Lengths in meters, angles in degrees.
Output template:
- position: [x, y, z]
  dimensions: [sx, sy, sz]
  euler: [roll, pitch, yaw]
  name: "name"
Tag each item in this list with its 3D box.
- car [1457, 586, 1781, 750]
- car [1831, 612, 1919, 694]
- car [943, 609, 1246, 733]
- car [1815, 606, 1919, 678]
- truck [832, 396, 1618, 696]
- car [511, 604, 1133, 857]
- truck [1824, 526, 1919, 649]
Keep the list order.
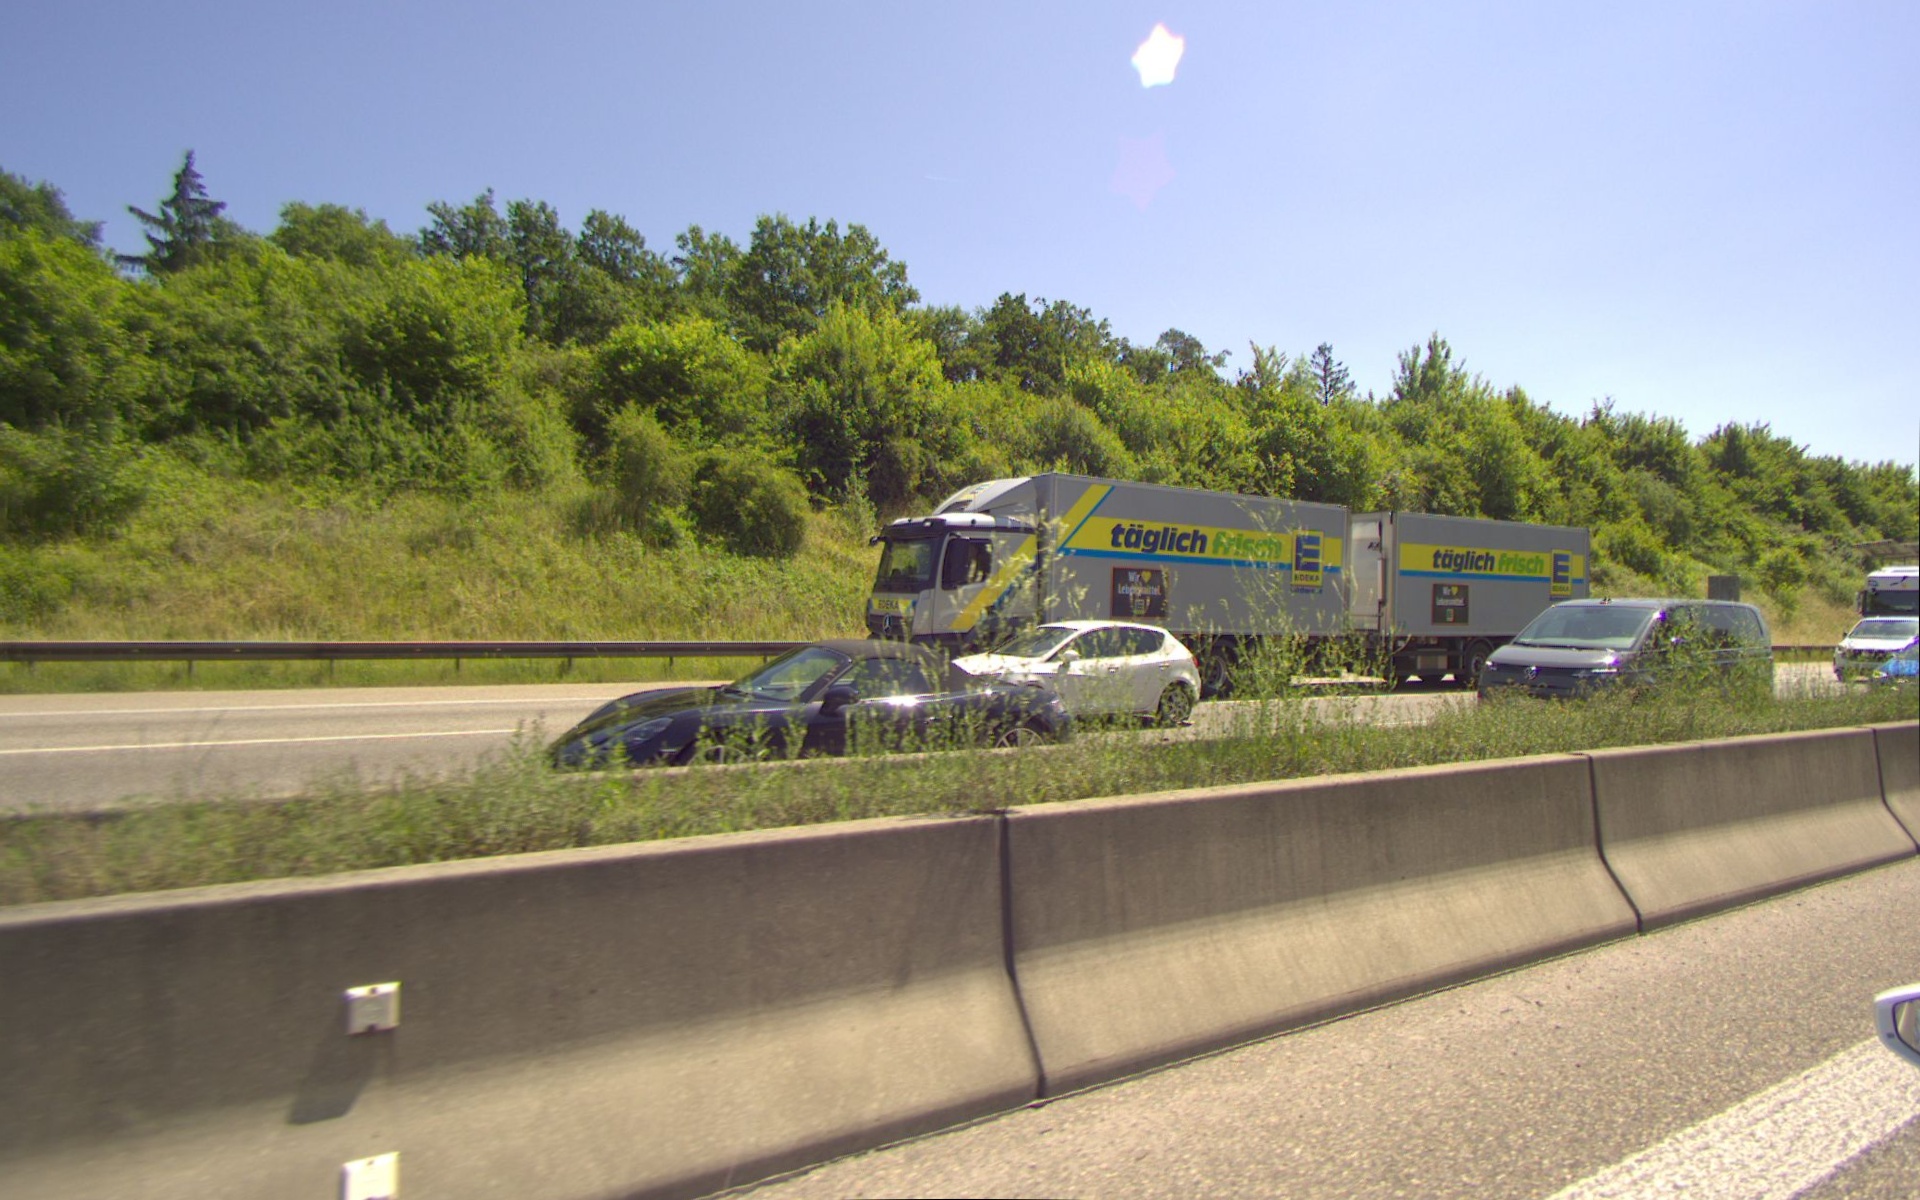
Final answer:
- position: [9.220, 0.864, 13.937]
  dimensions: [4.916, 1.941, 1.816]
  euler: [2, 0, -31]
  name: "car"
- position: [19.636, 1.059, 20.179]
  dimensions: [4.916, 1.497, 1.816]
  euler: [2, 0, -31]
  name: "car"
- position: [1.949, 0.943, 14.213]
  dimensions: [3.990, 1.490, 1.822]
  euler: [2, 0, -32]
  name: "car"
- position: [28.608, 1.268, 30.544]
  dimensions: [5.817, 1.967, 2.173]
  euler: [2, 0, -31]
  name: "car"
- position: [6.930, -0.556, 21.554]
  dimensions: [19.220, 4.515, 3.679]
  euler: [2, 0, -30]
  name: "truck"
- position: [-0.976, 0.859, 8.070]
  dimensions: [4.607, 1.500, 1.816]
  euler: [2, 0, -31]
  name: "car"
- position: [42.160, -0.228, 41.933]
  dimensions: [17.174, 4.515, 3.679]
  euler: [2, 0, -30]
  name: "truck"
